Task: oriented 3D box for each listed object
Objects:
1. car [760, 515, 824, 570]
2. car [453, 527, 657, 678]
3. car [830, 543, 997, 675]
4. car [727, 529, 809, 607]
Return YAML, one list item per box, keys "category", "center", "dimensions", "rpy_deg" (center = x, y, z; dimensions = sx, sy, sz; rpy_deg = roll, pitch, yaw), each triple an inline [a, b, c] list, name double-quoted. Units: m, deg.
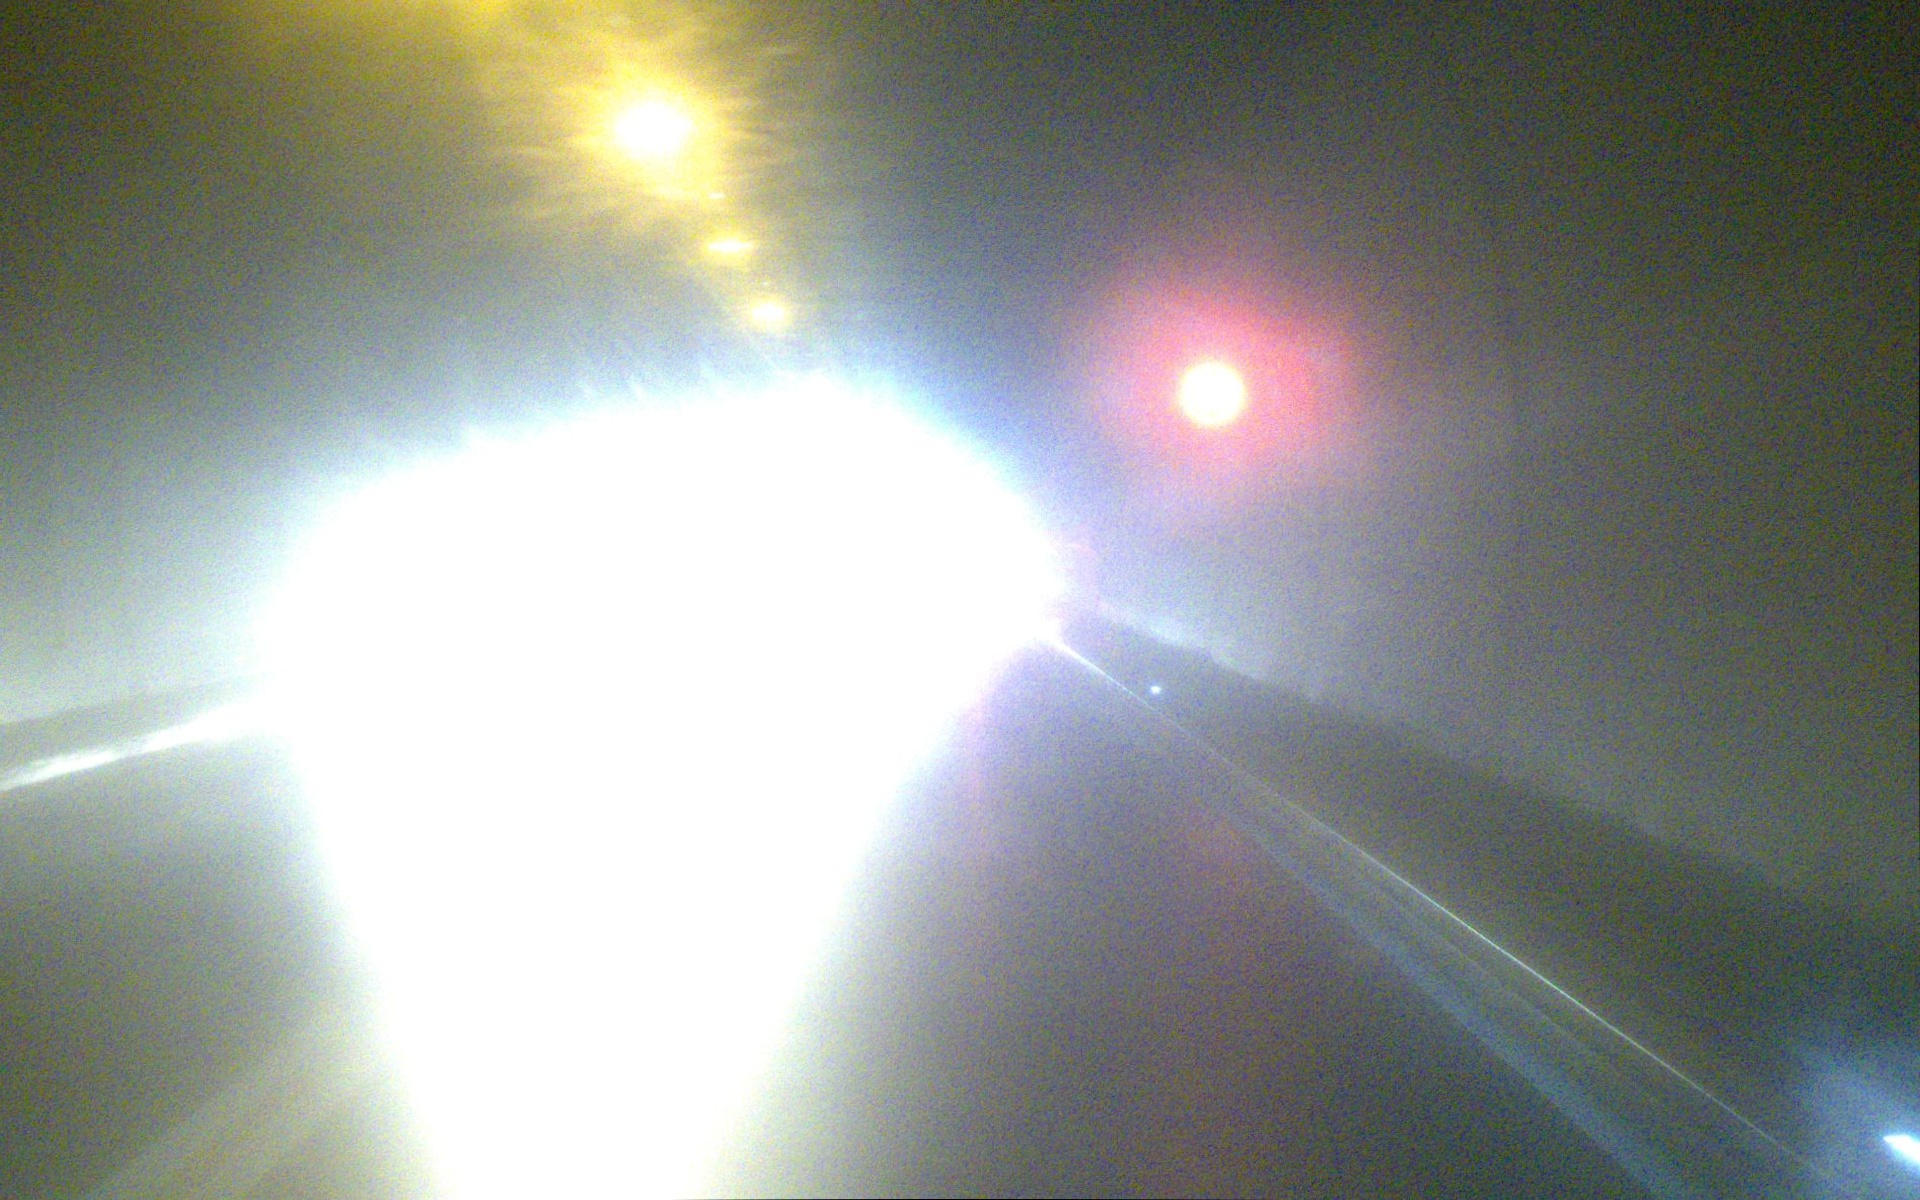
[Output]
- category: "car"
  center: [-4.906, -1.686, 100.621]
  dimensions: [1.701, 1.550, 3.873]
  rpy_deg: [0, 1, -1]
- category: "car"
  center: [-4.166, -0.016, 35.790]
  dimensions: [1.710, 1.457, 3.575]
  rpy_deg: [-1, 1, -1]
- category: "car"
  center: [-0.628, 0.079, 45.532]
  dimensions: [2.089, 1.656, 4.000]
  rpy_deg: [-1, 1, -1]
- category: "car"
  center: [-4.469, -0.779, 80.456]
  dimensions: [1.669, 1.641, 3.907]
  rpy_deg: [-3, 2, -1]
